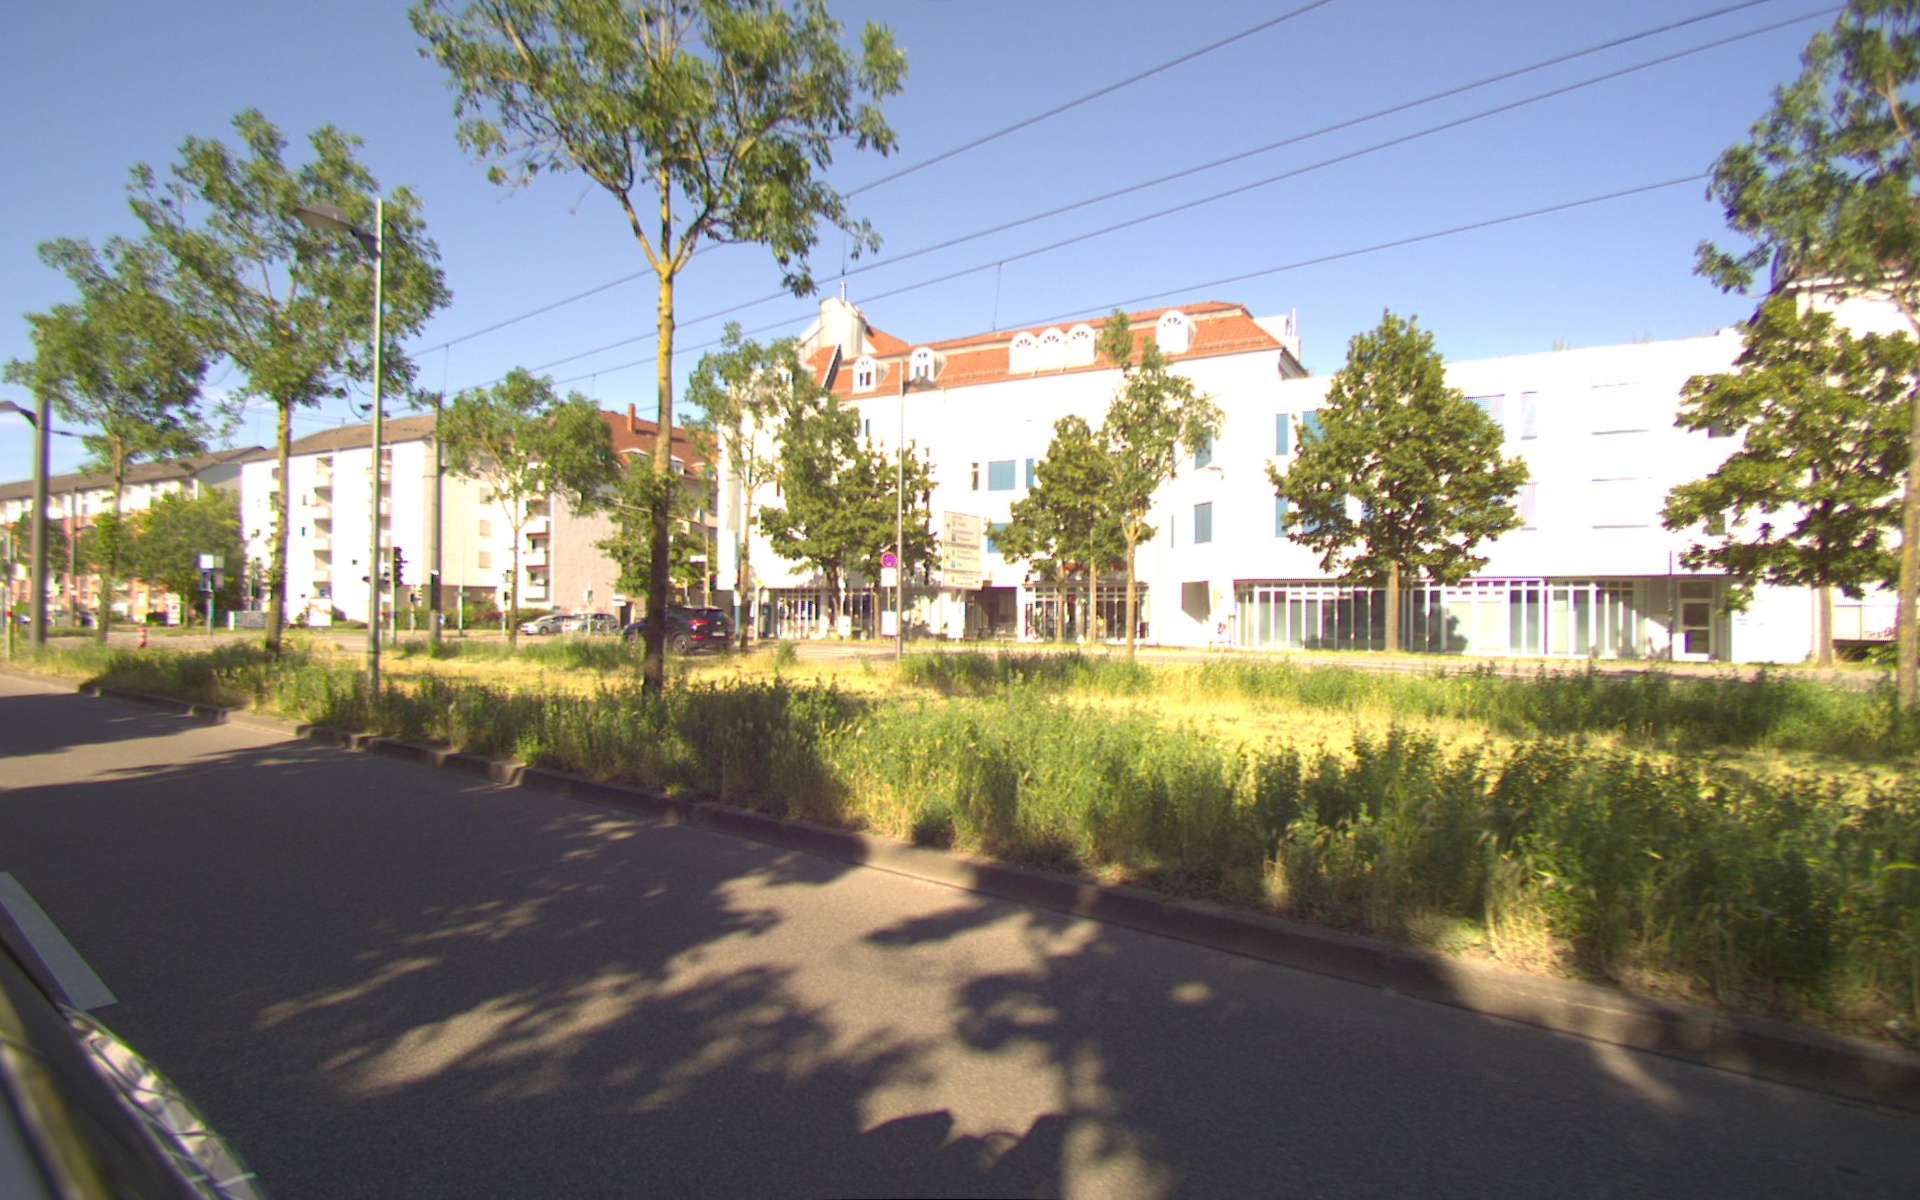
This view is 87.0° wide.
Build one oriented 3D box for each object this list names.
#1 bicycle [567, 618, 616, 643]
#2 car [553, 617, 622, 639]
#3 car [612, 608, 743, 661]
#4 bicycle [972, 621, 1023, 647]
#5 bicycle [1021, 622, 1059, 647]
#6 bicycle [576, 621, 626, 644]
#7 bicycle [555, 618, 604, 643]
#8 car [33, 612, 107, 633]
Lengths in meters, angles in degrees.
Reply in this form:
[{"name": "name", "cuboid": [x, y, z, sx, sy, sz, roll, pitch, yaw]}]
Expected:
[{"name": "bicycle", "cuboid": [-19.609, 1.627, 53.957, 0.661, 1.319, 2.551, -1, -2, 33]}, {"name": "car", "cuboid": [-26.267, 1.984, 71.452, 2.324, 1.476, 4.149, -1, -1, 28]}, {"name": "car", "cuboid": [-9.422, 1.095, 33.616, 4.480, 1.653, 1.803, -1, -1, 36]}, {"name": "bicycle", "cuboid": [1.855, 1.667, 49.801, 2.547, 1.222, 0.711, -1, -2, 35]}, {"name": "bicycle", "cuboid": [3.943, 1.688, 49.664, 0.718, 1.222, 2.522, -1, -2, 35]}, {"name": "bicycle", "cuboid": [-18.906, 1.695, 53.384, 0.781, 1.168, 2.551, -1, -2, 33]}, {"name": "bicycle", "cuboid": [-20.503, 1.636, 54.581, 0.661, 1.319, 2.551, -1, -2, 33]}, {"name": "car", "cuboid": [-71.502, 1.810, 81.336, 4.168, 1.723, 1.699, 1, -2, -29]}]
